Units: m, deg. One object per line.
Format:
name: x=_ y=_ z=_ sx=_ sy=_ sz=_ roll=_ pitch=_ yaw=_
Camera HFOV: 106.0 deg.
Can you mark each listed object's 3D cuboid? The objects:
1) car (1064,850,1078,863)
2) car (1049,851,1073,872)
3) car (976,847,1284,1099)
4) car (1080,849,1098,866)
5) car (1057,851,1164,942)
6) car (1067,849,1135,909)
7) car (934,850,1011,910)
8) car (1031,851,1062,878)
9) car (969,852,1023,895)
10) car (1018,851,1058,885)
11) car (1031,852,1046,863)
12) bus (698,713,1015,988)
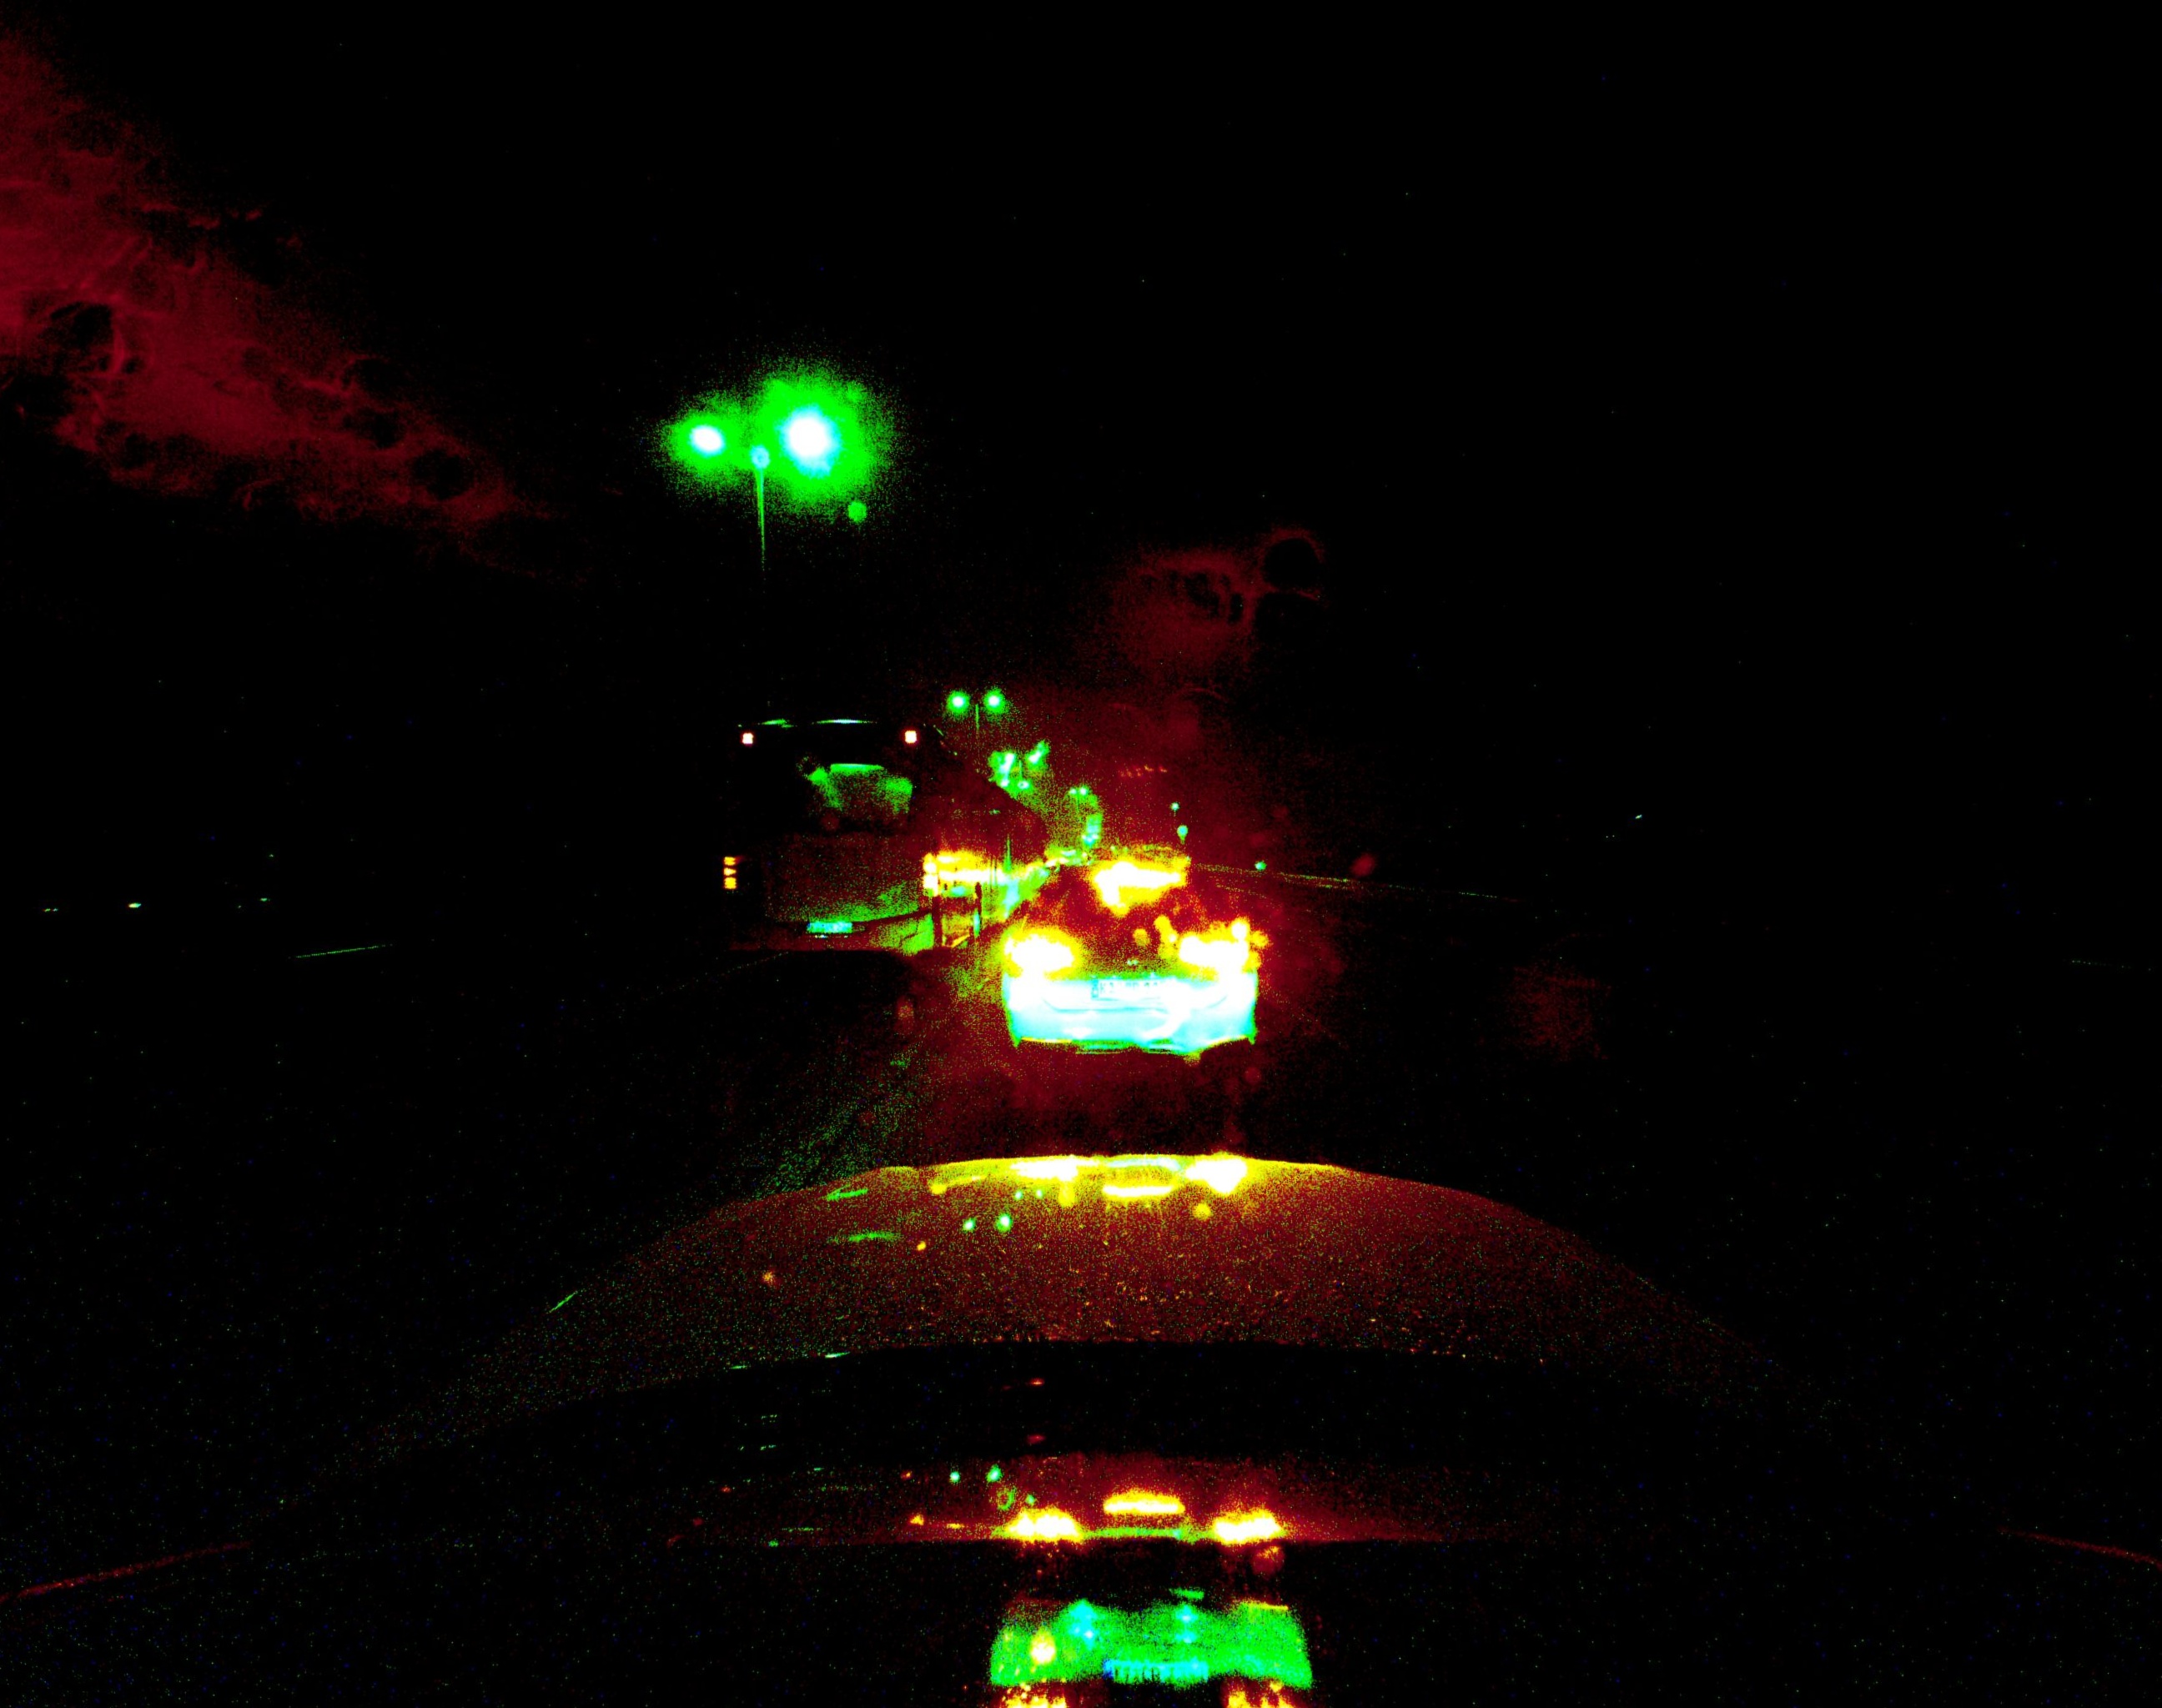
car: x=-1.437 y=0.385 z=117.927 sx=1.810 sy=1.797 sz=3.804 roll=0 pitch=0 yaw=2
car: x=-1.543 y=0.563 z=62.432 sx=1.775 sy=1.543 sz=3.872 roll=-1 pitch=0 yaw=-2
car: x=0.376 y=0.708 z=7.158 sx=1.814 sy=1.484 sz=4.570 roll=-1 pitch=0 yaw=2
car: x=1.004 y=0.404 z=98.117 sx=1.986 sy=2.013 sz=4.002 roll=-1 pitch=0 yaw=2
car: x=0.486 y=0.684 z=15.625 sx=1.726 sy=1.449 sz=4.724 roll=-1 pitch=0 yaw=0
car: x=0.502 y=0.666 z=23.527 sx=1.735 sy=1.565 sz=3.774 roll=-1 pitch=0 yaw=-2
car: x=-3.010 y=0.684 z=23.346 sx=1.775 sy=1.543 sz=3.872 roll=-1 pitch=0 yaw=-2
car: x=-2.080 y=0.614 z=50.088 sx=1.774 sy=1.543 sz=3.874 roll=-1 pitch=0 yaw=0
car: x=-3.239 y=0.713 z=31.517 sx=1.775 sy=1.543 sz=3.872 roll=-1 pitch=0 yaw=-2
car: x=-2.058 y=0.632 z=39.668 sx=1.774 sy=1.543 sz=3.873 roll=-1 pitch=0 yaw=-1
car: x=-6.371 y=0.463 z=122.390 sx=1.986 sy=1.640 sz=4.002 roll=-1 pitch=0 yaw=2
bus: x=-2.856 y=-0.055 z=13.453 sx=2.806 sy=3.024 sz=8.685 roll=-1 pitch=0 yaw=0
